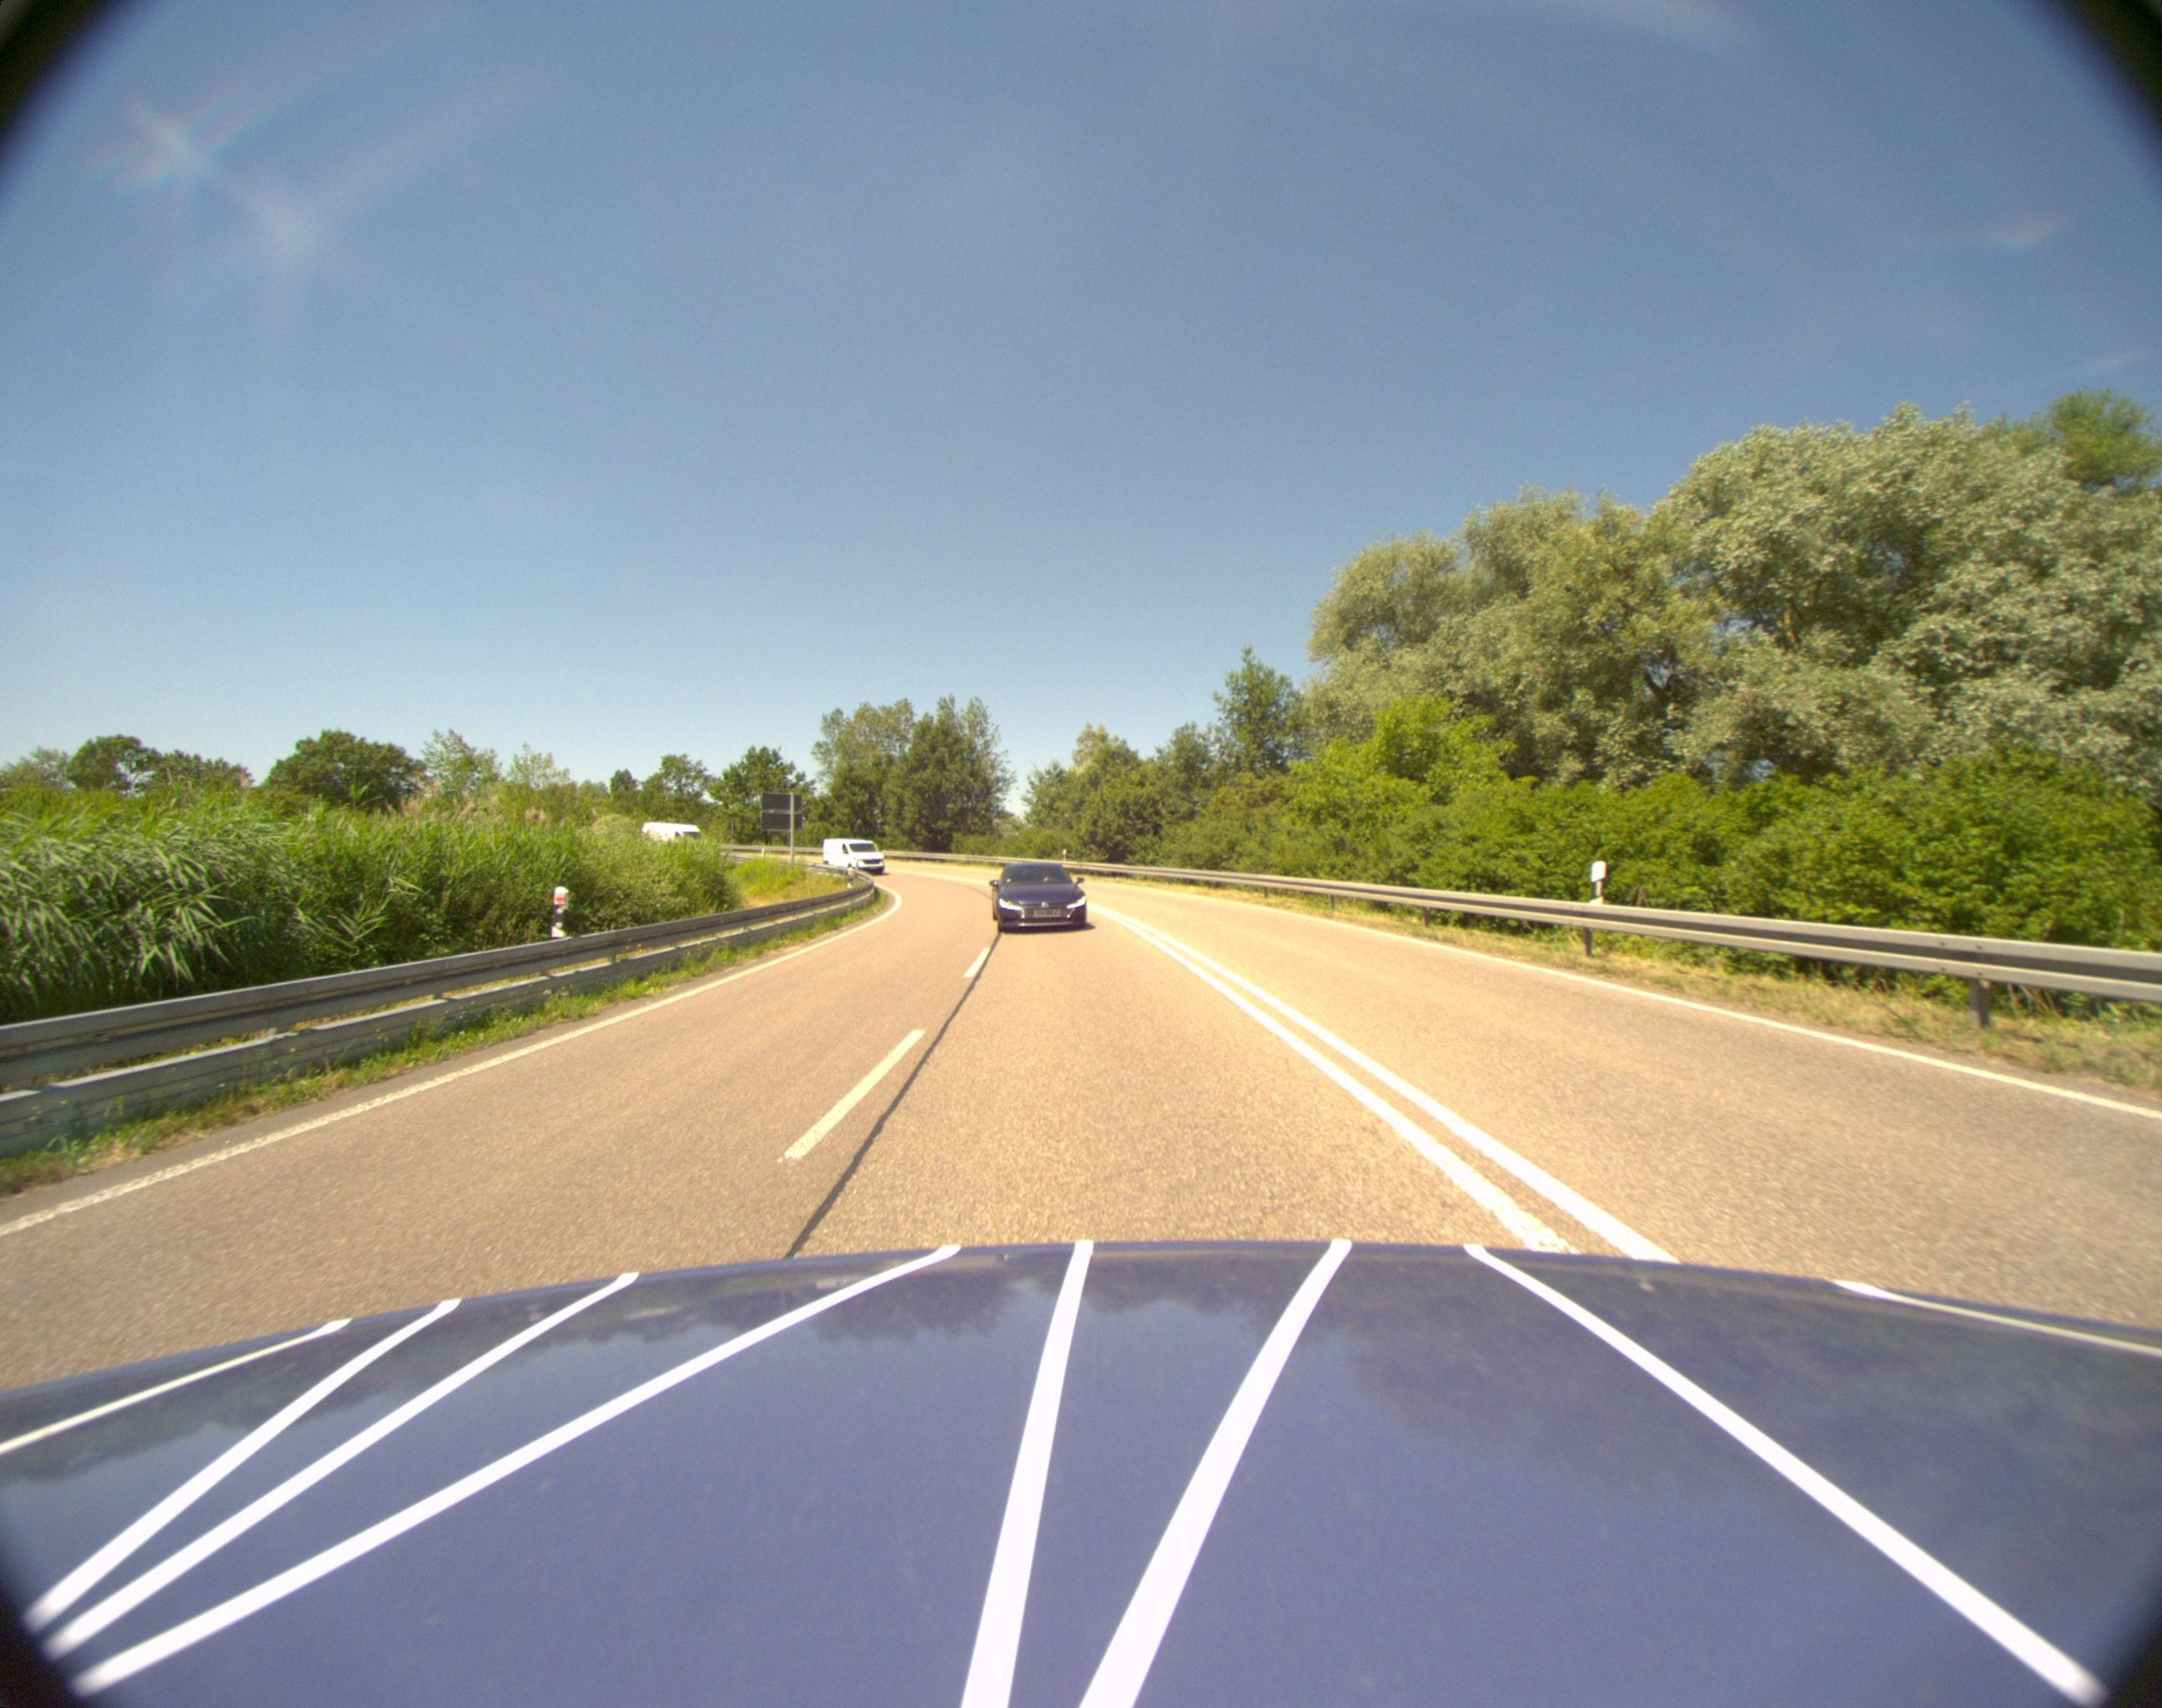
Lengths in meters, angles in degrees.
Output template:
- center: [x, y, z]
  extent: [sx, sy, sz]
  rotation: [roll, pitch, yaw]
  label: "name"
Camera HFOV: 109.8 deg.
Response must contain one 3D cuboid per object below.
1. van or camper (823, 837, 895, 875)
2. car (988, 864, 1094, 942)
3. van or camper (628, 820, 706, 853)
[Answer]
- center: [-13.108, 0.072, 44.691]
  extent: [2.014, 2.020, 5.431]
  rotation: [-3, 3, -40]
  label: "van or camper"
- center: [-1.043, 0.976, 17.058]
  extent: [1.844, 1.422, 4.529]
  rotation: [-1, 0, -10]
  label: "car"
- center: [-33.115, -1.402, 60.739]
  extent: [6.032, 2.541, 2.077]
  rotation: [0, 4, 24]
  label: "van or camper"
